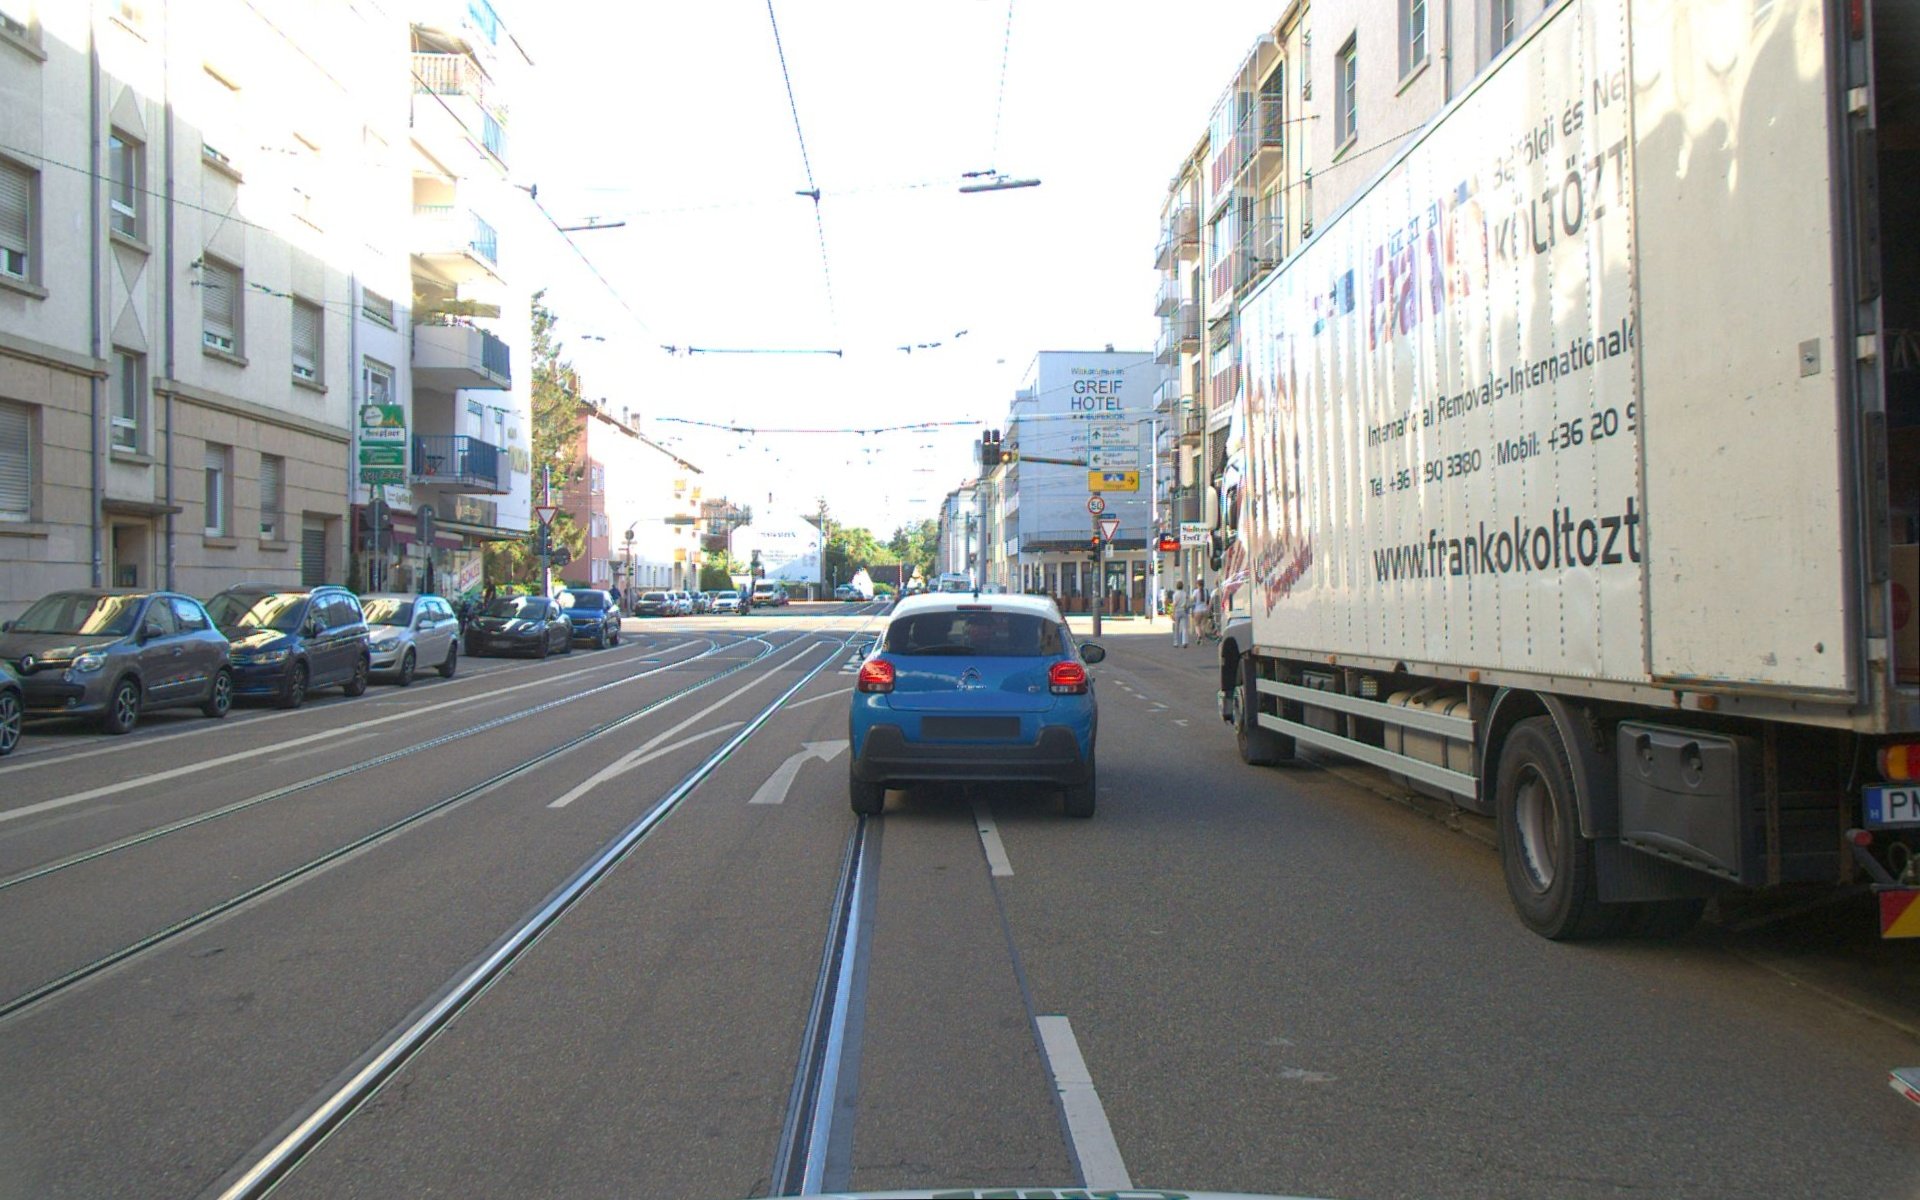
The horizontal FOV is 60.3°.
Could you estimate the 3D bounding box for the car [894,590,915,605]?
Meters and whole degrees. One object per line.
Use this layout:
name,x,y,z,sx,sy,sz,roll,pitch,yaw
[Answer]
car,-4.979,-0.216,147.970,1.721,1.281,3.828,0,0,-6

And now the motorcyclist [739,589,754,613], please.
motorcyclist,-12.562,0.053,97.249,0.704,1.402,0.911,0,0,1

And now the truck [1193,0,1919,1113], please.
truck,3.802,-0.684,10.604,2.801,4.144,11.777,-1,0,-1

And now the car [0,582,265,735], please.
car,-9.847,0.622,19.491,1.665,1.596,3.999,1,0,-1

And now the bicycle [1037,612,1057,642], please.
bicycle,2.653,0.807,50.381,0.488,0.879,1.748,0,0,-1

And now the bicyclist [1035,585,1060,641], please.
bicyclist,2.644,0.395,49.896,0.711,1.674,0.790,0,0,1

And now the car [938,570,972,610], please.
car,-0.311,-0.620,102.300,1.953,2.366,3.998,1,0,-2

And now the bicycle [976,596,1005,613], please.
bicycle,1.798,0.268,98.219,1.684,0.973,0.702,0,0,3

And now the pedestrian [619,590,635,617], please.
pedestrian,-21.212,0.221,105.351,0.826,1.720,0.737,0,0,4

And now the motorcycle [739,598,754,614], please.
motorcycle,-12.567,0.345,97.404,0.603,0.879,1.671,0,0,1

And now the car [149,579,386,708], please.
car,-9.801,0.576,23.768,1.665,1.644,4.242,1,0,-1

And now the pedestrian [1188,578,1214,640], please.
pedestrian,6.166,0.231,42.357,0.530,1.534,0.611,-2,2,-1

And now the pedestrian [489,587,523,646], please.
pedestrian,-12.199,0.437,44.489,0.683,1.575,0.721,0,1,1

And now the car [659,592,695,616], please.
car,-18.697,0.249,109.444,1.873,1.523,3.998,0,0,-3

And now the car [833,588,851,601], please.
car,-14.223,-0.631,199.619,1.981,1.552,3.998,0,0,-3

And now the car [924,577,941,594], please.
car,-2.671,-1.382,161.355,1.654,1.646,3.999,1,0,-1

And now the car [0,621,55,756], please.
car,-9.735,0.811,14.474,1.665,1.237,3.783,1,0,-3

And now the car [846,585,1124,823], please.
car,0.031,0.653,12.517,1.710,1.488,3.996,1,0,-5

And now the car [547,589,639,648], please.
car,-10.121,0.505,45.902,1.709,1.536,3.999,1,0,-1

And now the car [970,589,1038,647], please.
car,1.142,0.441,43.394,1.702,1.445,4.001,0,0,1

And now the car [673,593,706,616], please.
car,-18.994,0.300,116.235,1.873,1.523,3.998,0,0,-3

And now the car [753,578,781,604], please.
car,-17.387,-0.815,149.508,2.163,2.290,4.674,0,0,-3

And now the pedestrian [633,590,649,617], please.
pedestrian,-20.348,0.233,105.442,0.826,1.720,0.737,0,0,4

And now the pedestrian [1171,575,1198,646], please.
pedestrian,5.515,0.250,40.693,0.530,1.701,0.624,-2,2,-1

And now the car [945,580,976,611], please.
car,0.007,-0.260,97.375,1.697,1.780,3.212,1,0,-2

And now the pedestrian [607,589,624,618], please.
pedestrian,-20.544,0.180,98.647,0.826,1.720,0.737,0,0,4

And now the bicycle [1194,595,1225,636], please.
bicycle,6.933,0.415,45.960,0.519,1.091,1.810,0,0,-2

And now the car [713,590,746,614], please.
car,-15.929,0.142,114.561,1.813,1.601,4.399,0,0,-3

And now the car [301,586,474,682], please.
car,-10.075,0.571,29.426,1.665,1.536,4.384,1,0,-2

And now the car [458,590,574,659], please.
car,-10.568,0.563,39.675,1.665,1.536,4.310,1,0,-1

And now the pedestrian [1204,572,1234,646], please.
pedestrian,6.054,0.206,38.670,0.530,1.701,0.650,-2,0,-1

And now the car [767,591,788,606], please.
car,-19.239,-0.141,174.808,1.981,1.552,3.998,0,0,-3

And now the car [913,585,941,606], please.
car,-2.433,-0.336,120.944,1.953,1.534,3.999,0,0,-2

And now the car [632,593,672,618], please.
car,-18.430,0.317,99.082,1.873,1.458,3.997,0,0,-4

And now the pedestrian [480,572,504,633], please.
pedestrian,-15.707,0.090,55.490,0.673,2.049,0.486,0,0,-5
